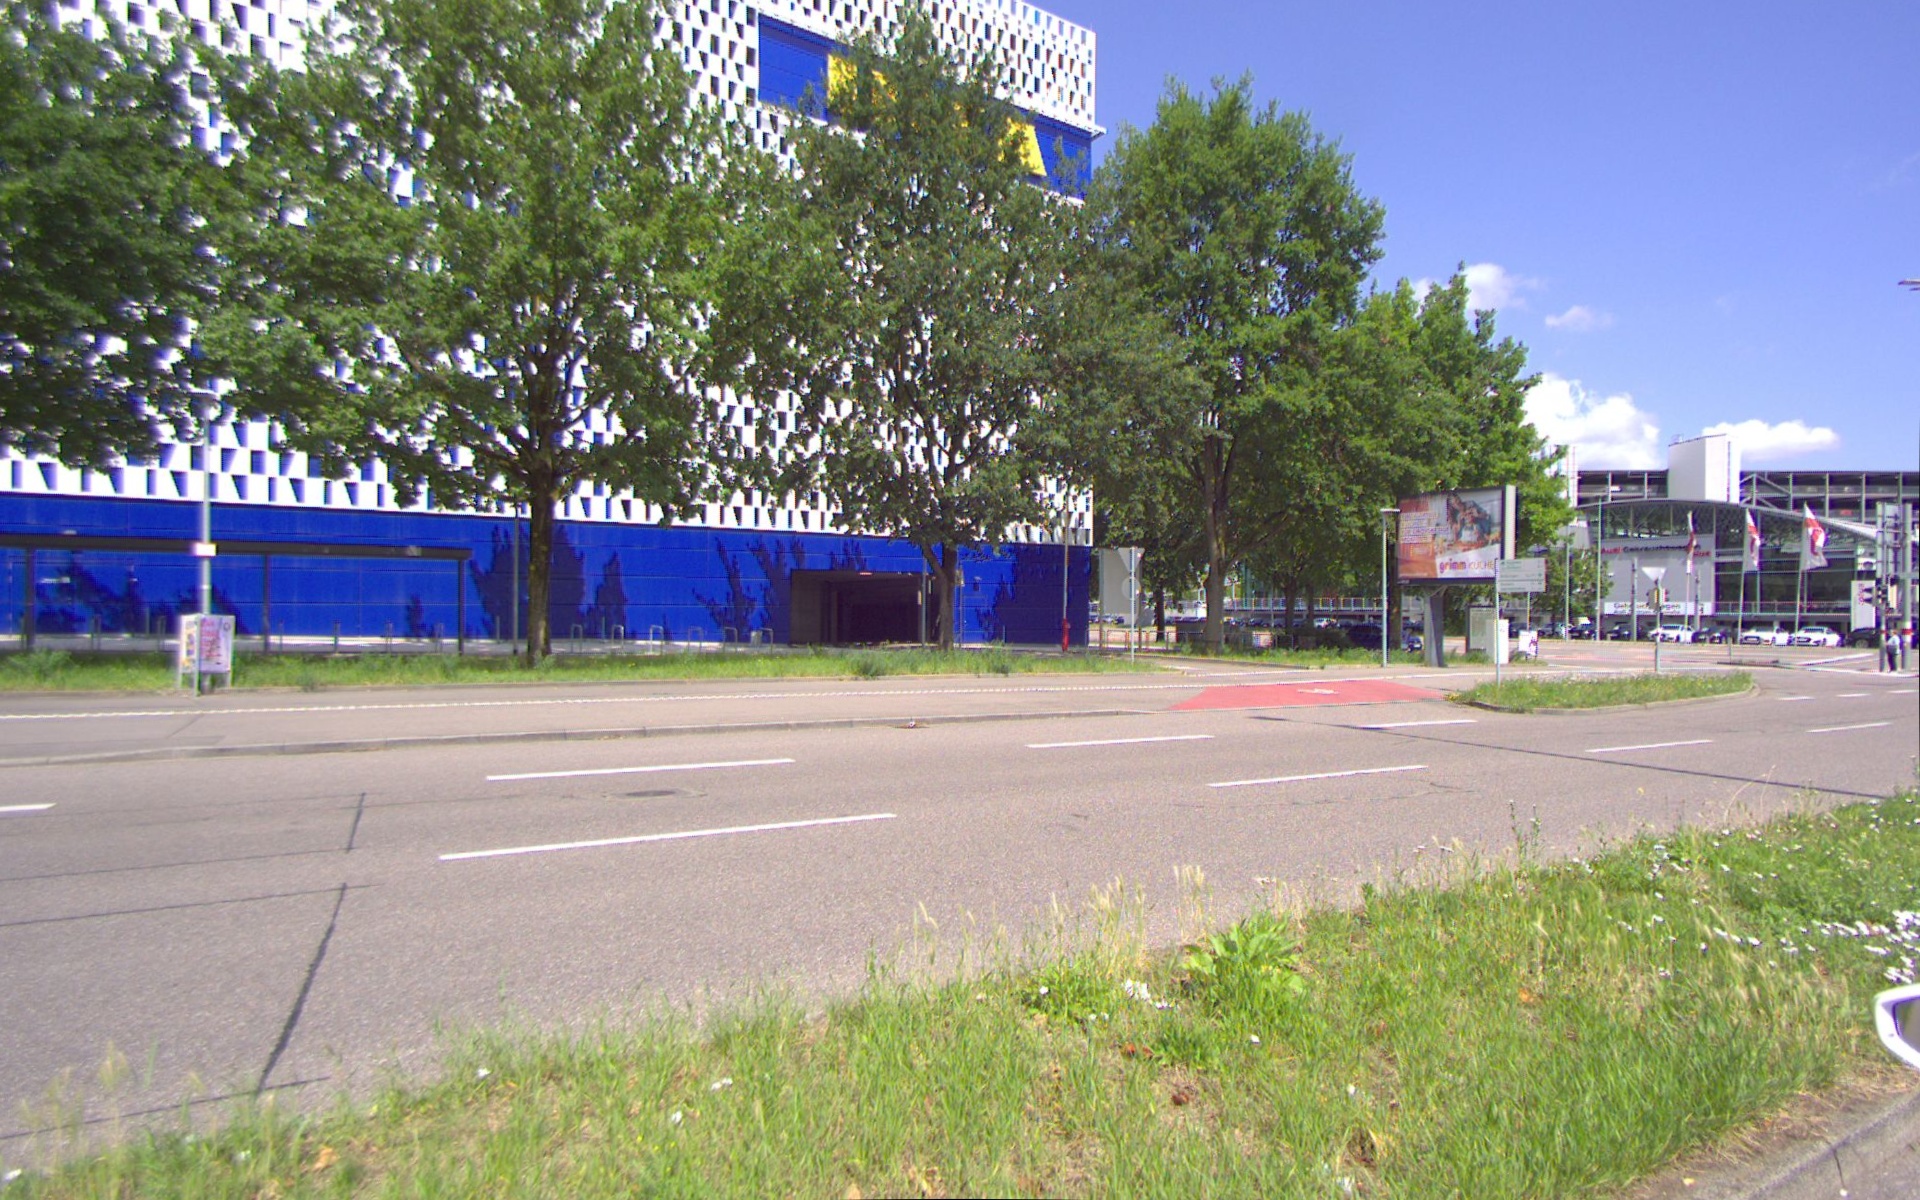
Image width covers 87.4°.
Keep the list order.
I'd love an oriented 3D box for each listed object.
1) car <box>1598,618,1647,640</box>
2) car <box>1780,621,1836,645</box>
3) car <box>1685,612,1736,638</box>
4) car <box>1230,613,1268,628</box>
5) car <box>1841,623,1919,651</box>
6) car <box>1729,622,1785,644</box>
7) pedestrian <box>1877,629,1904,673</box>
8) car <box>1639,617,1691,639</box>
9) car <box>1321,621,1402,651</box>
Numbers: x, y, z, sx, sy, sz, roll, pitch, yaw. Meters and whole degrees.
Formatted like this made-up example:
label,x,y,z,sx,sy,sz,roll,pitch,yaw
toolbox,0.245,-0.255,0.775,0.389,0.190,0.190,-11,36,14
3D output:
label,x,y,z,sx,sy,sz,roll,pitch,yaw
car,49.016,2.105,74.284,3.662,1.506,1.717,0,0,-34
car,55.096,2.100,65.223,3.987,1.469,1.765,0,0,-34
car,52.004,1.697,69.612,3.579,1.683,1.746,0,1,-34
car,29.756,2.091,103.287,3.687,1.409,1.689,1,0,-30
car,56.761,2.267,61.644,1.662,1.533,3.768,0,0,-34
car,53.403,2.204,67.312,3.713,1.394,1.896,0,0,-34
pedestrian,33.287,1.807,35.929,0.502,1.532,0.470,1,0,-5
car,50.411,1.990,71.828,3.662,1.506,1.867,0,0,-34
car,23.497,2.113,58.872,1.982,1.529,3.958,5,-2,-37
